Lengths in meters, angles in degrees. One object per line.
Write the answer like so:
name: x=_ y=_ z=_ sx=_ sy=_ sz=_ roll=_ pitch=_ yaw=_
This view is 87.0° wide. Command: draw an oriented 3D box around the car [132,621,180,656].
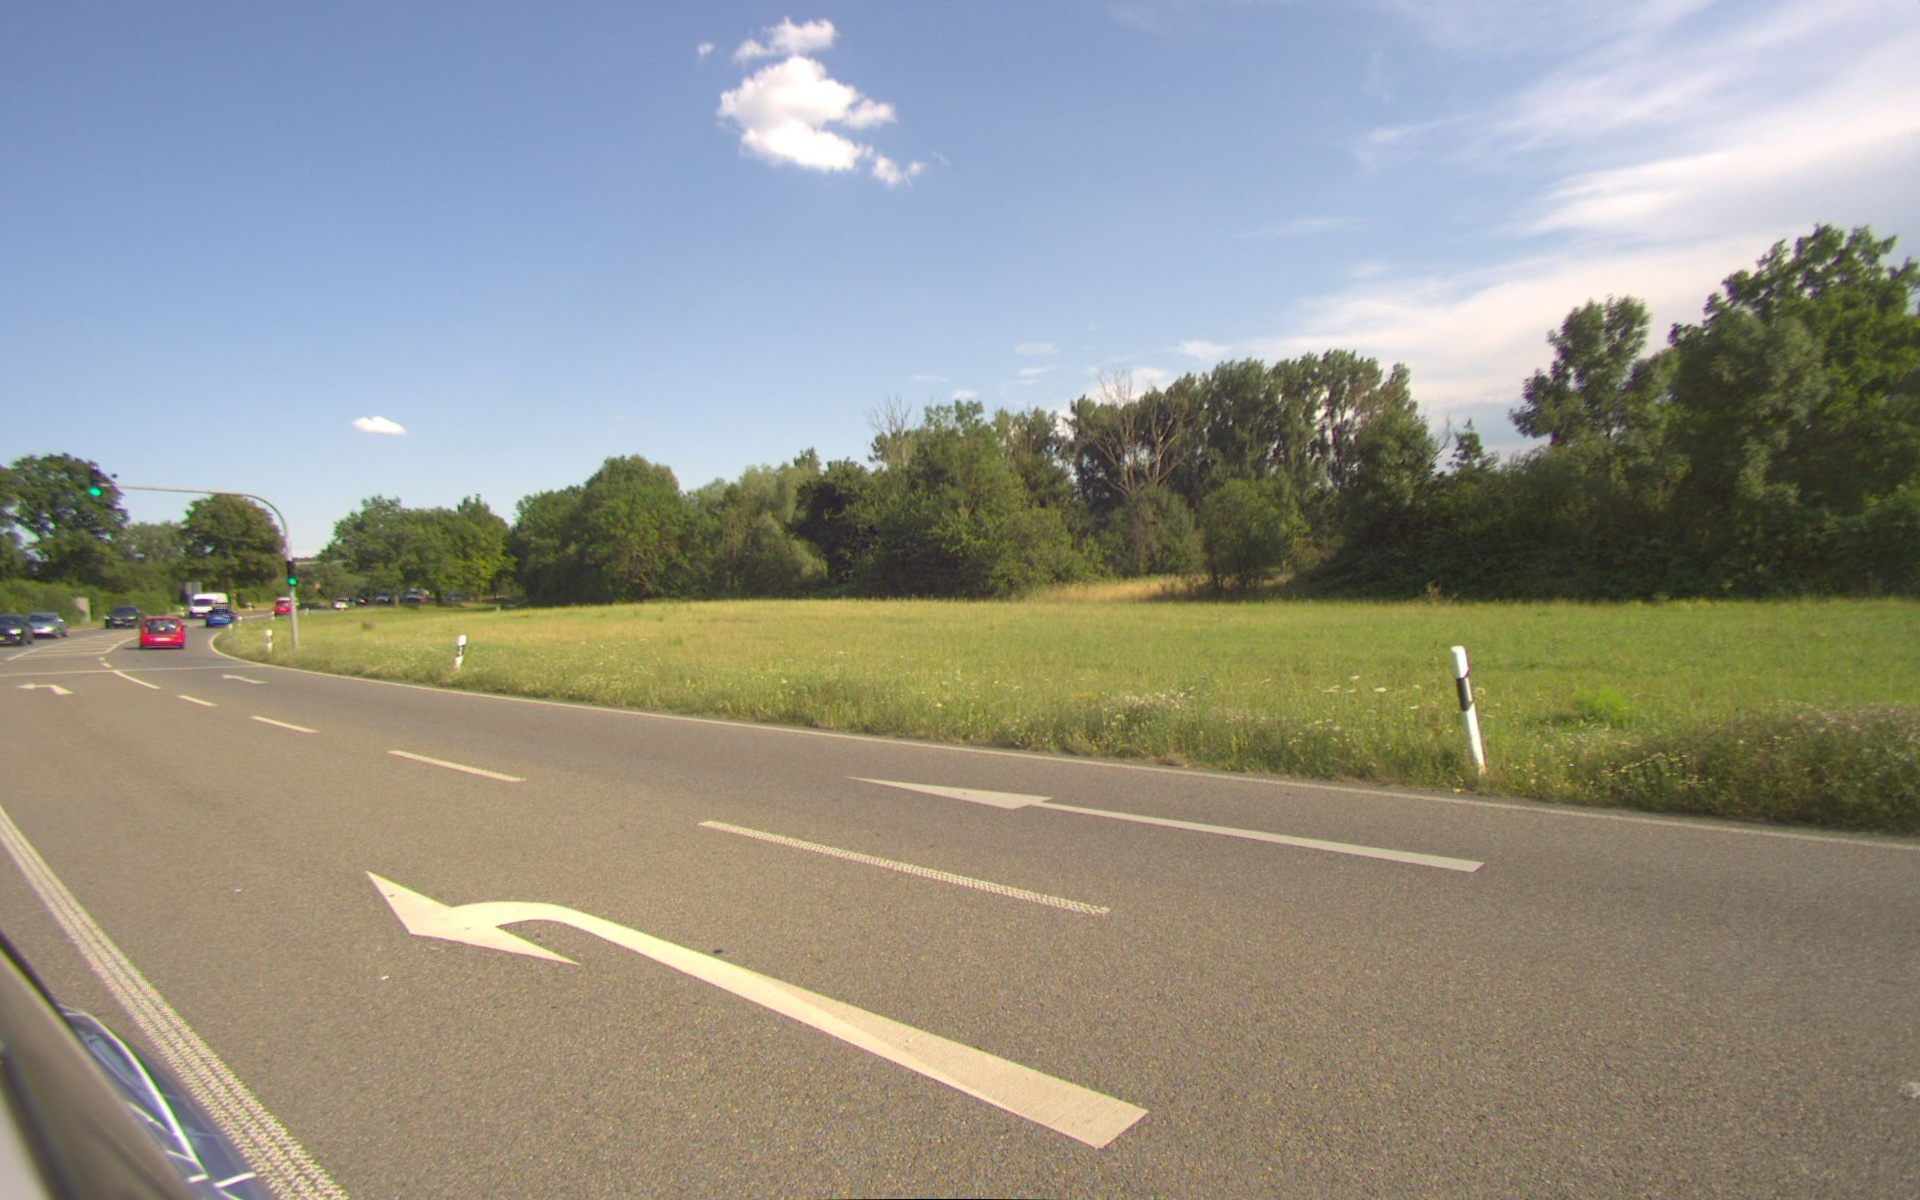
car: x=-36.214 y=1.714 z=45.565 sx=1.566 sy=1.478 sz=3.613 roll=1 pitch=-2 yaw=-40

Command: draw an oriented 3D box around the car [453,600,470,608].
car: x=-94.130 y=0.724 z=191.063 sx=1.725 sy=1.478 sz=3.483 roll=0 pitch=-1 yaw=-5

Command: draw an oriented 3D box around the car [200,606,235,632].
car: x=-57.392 y=1.482 z=78.285 sx=1.700 sy=1.897 sz=4.348 roll=0 pitch=-2 yaw=-31

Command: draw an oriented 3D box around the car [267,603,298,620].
car: x=-75.589 y=1.261 z=112.949 sx=1.854 sy=1.789 sz=4.335 roll=0 pitch=-2 yaw=-20

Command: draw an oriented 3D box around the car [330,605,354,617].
car: x=-86.150 y=1.488 z=141.140 sx=1.854 sy=1.598 sz=4.342 roll=0 pitch=-2 yaw=-16

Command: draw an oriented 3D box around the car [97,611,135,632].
car: x=-62.742 y=1.608 z=75.276 sx=1.581 sy=1.490 sz=3.627 roll=1 pitch=-2 yaw=-31

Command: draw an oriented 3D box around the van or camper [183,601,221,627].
van or camper: x=-76.198 y=1.349 z=101.853 sx=2.000 sy=2.494 sz=5.094 roll=-3 pitch=1 yaw=-25

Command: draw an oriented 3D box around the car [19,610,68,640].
car: x=-51.468 y=1.363 z=56.883 sx=1.609 sy=1.570 sz=3.426 roll=1 pitch=0 yaw=-34

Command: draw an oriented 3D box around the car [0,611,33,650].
car: x=-45.255 y=1.414 z=47.809 sx=1.647 sy=1.741 sz=3.677 roll=2 pitch=-1 yaw=-35
